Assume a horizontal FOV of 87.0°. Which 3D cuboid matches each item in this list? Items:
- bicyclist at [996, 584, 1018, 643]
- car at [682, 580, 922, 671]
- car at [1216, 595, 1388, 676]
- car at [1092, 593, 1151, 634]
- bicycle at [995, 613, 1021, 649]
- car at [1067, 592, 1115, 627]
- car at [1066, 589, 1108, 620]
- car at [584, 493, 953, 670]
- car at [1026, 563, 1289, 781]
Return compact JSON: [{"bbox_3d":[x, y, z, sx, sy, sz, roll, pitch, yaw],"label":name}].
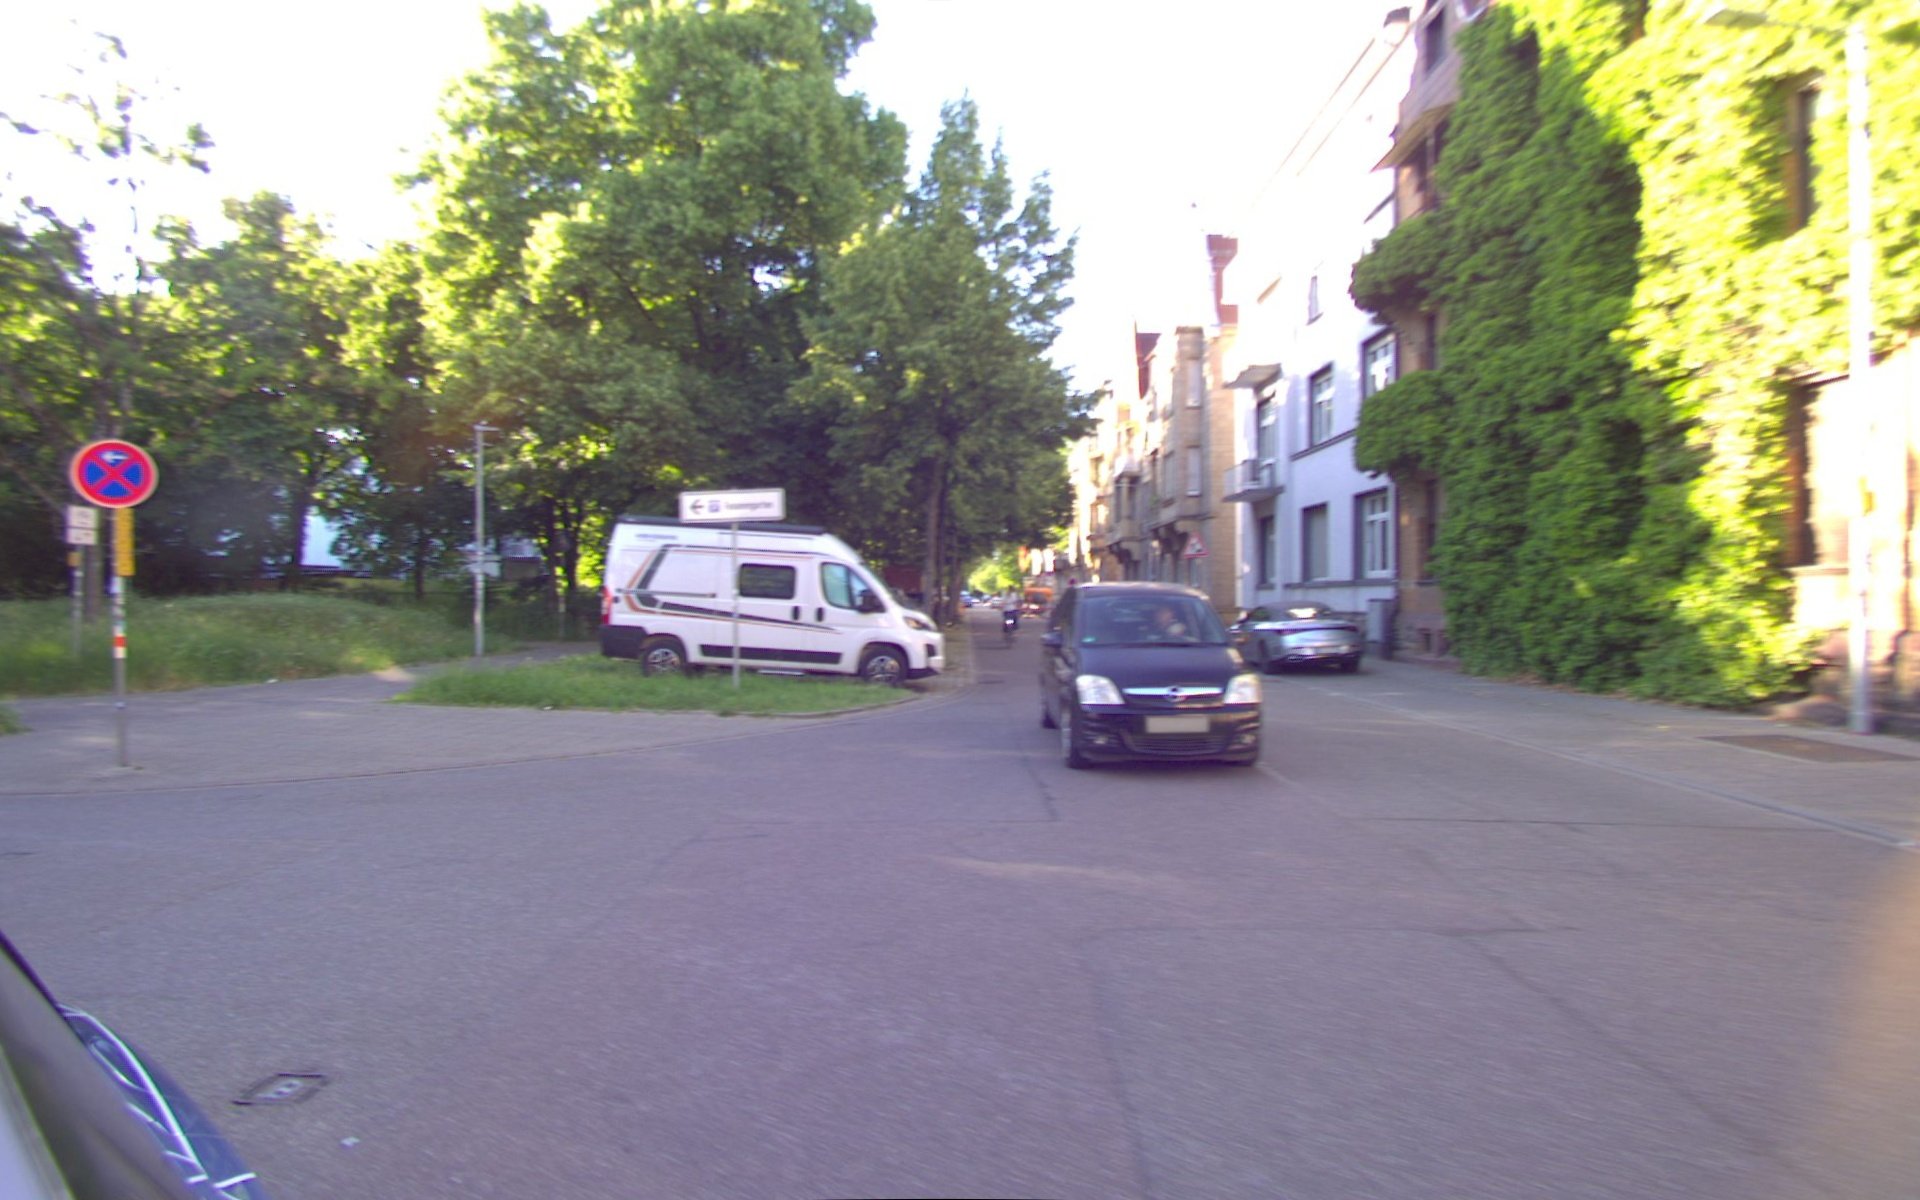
[{"bbox_3d":[1.341,0.369,29.103,0.588,1.668,0.711,-1,1,0],"label":"bicyclist"},{"bbox_3d":[-2.859,0.434,19.096,4.239,1.587,1.979,-1,1,0],"label":"car"},{"bbox_3d":[6.958,0.652,21.224,1.856,1.415,4.925,-2,0,0],"label":"car"},{"bbox_3d":[6.739,0.540,42.656,1.842,1.558,3.793,-1,1,0],"label":"car"},{"bbox_3d":[1.366,0.869,28.965,0.606,0.982,2.069,-1,0,-1],"label":"bicycle"},{"bbox_3d":[6.591,0.445,51.270,1.973,1.637,4.142,0,1,2],"label":"car"},{"bbox_3d":[7.134,0.225,57.159,1.973,1.637,4.142,0,1,2],"label":"car"},{"bbox_3d":[-2.916,-0.306,16.435,5.552,2.633,2.239,-1,1,0],"label":"car"},{"bbox_3d":[1.634,0.549,9.712,1.626,1.602,4.020,-2,0,-1],"label":"car"}]
